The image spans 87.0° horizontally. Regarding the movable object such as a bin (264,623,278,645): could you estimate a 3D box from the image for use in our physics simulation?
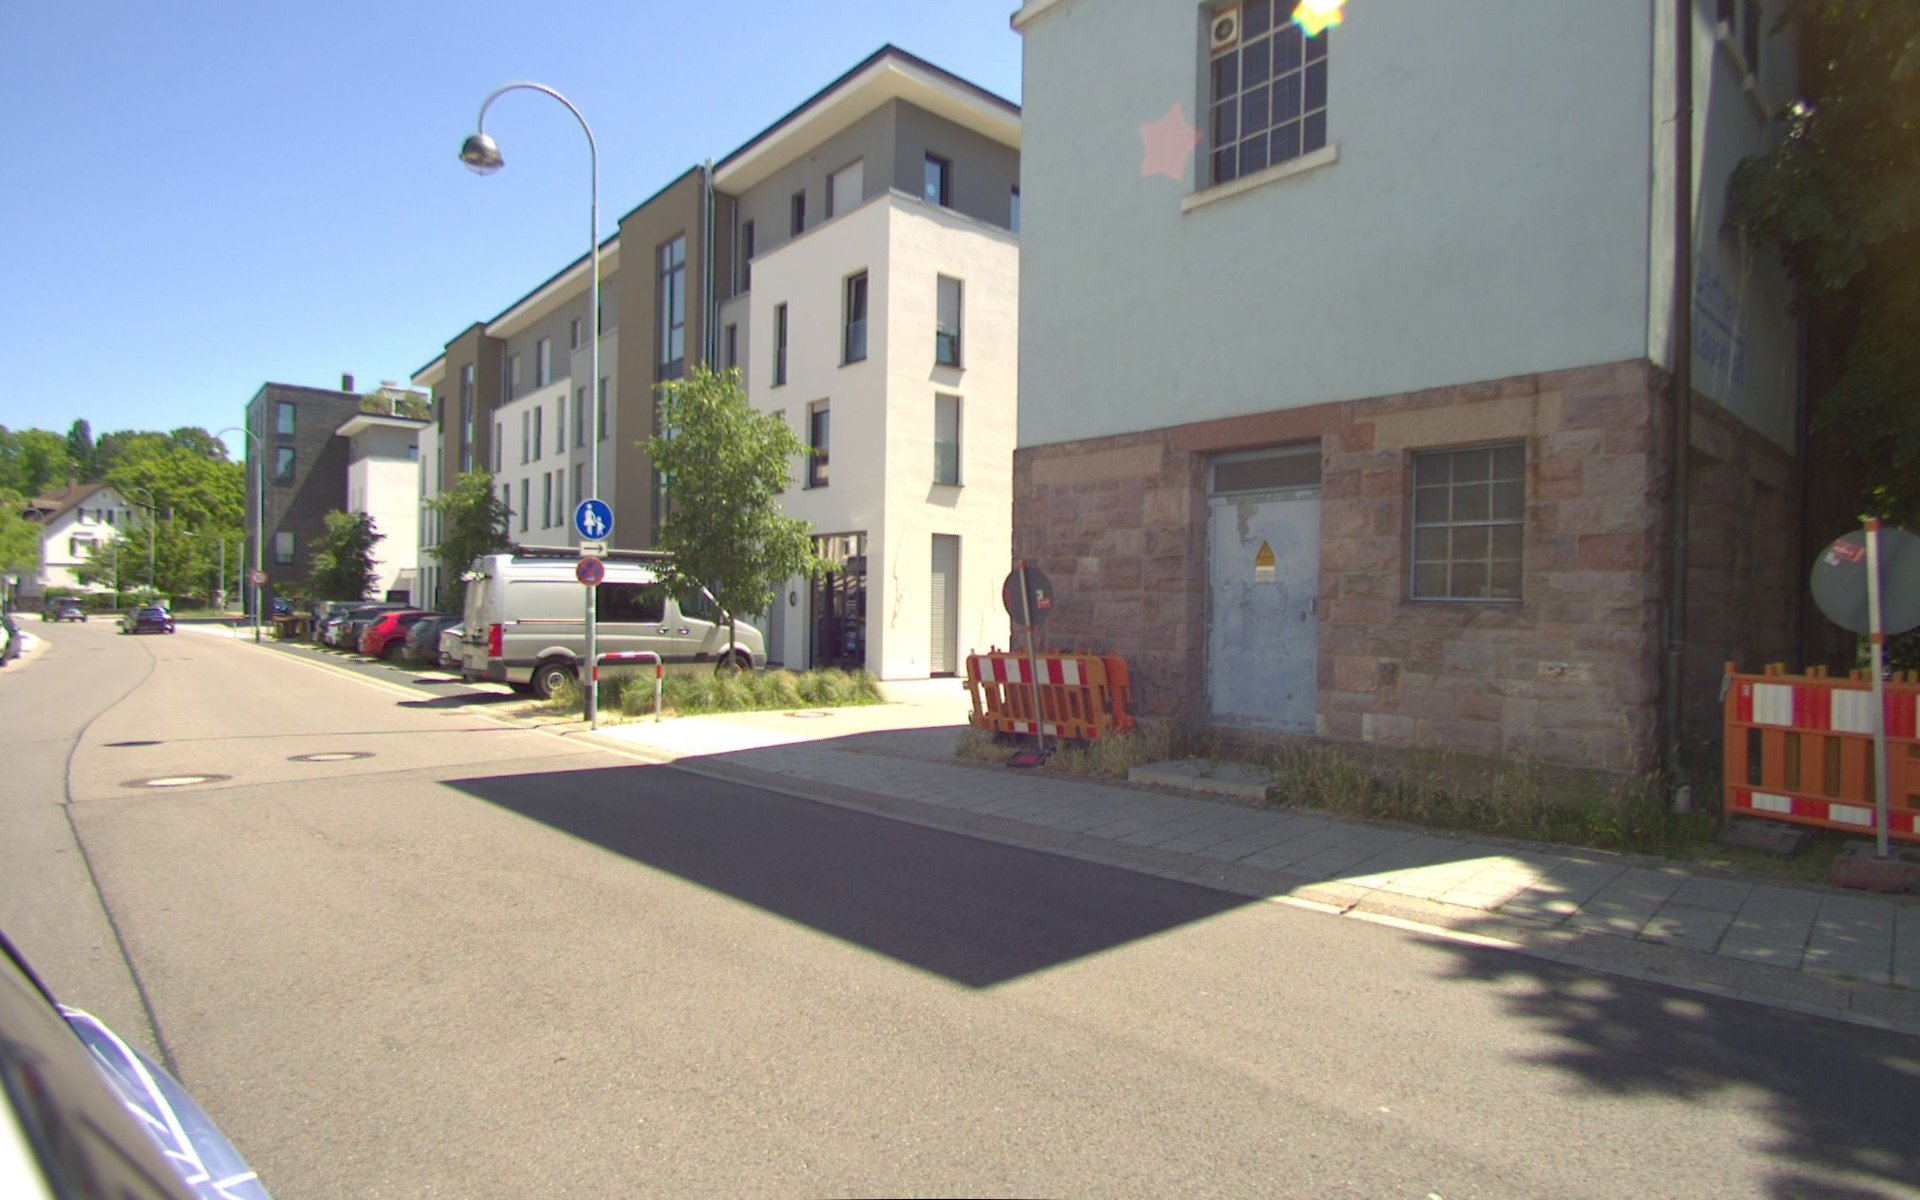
[{"bbox_3d":[-32.402,1.582,47.568,0.477,1.005,0.588,0,0,-42],"label":"movable object such as a bin"}]

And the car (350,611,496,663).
[{"bbox_3d":[-17.769,1.172,33.559,3.981,1.508,2.004,-1,1,-39],"label":"car"}]

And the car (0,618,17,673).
[{"bbox_3d":[-27.713,1.270,28.034,1.714,1.497,4.064,3,-2,-35],"label":"car"}]

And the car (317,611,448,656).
[{"bbox_3d":[-21.363,1.203,37.512,3.937,1.432,1.913,-1,1,-40],"label":"car"}]

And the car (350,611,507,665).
[{"bbox_3d":[-16.416,1.126,31.321,3.981,1.441,2.004,-1,1,-39],"label":"car"}]

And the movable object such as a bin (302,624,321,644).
[{"bbox_3d":[-29.168,1.507,45.518,0.480,0.874,0.550,0,0,32],"label":"movable object such as a bin"}]

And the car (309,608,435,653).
[{"bbox_3d":[-22.757,1.138,39.216,3.937,1.527,2.004,-1,1,-40],"label":"car"}]

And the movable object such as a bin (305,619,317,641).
[{"bbox_3d":[-31.192,1.441,48.613,0.398,1.005,0.556,0,0,-42],"label":"movable object such as a bin"}]

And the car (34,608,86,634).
[{"bbox_3d":[-62.387,1.430,70.117,4.066,1.714,1.795,-1,-1,35],"label":"car"}]

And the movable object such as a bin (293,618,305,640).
[{"bbox_3d":[-31.539,1.382,48.312,0.398,1.005,0.556,0,0,-42],"label":"movable object such as a bin"}]

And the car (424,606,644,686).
[{"bbox_3d":[-9.996,1.002,23.930,4.399,1.603,2.003,-1,1,-41],"label":"car"}]

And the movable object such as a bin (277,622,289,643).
[{"bbox_3d":[-32.045,1.531,47.889,0.398,1.005,0.556,0,0,-42],"label":"movable object such as a bin"}]

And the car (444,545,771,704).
[{"bbox_3d":[-6.878,0.370,20.199,5.695,2.753,2.295,-1,1,-40],"label":"car"}]

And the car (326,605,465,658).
[{"bbox_3d":[-19.795,1.036,35.531,3.981,1.663,2.004,-1,1,-39],"label":"car"}]

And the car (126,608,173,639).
[{"bbox_3d":[-44.124,1.252,55.062,1.870,1.565,4.806,-1,0,-40],"label":"car"}]

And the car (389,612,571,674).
[{"bbox_3d":[-13.157,1.122,27.900,1.887,1.448,4.152,0,1,45],"label":"car"}]
